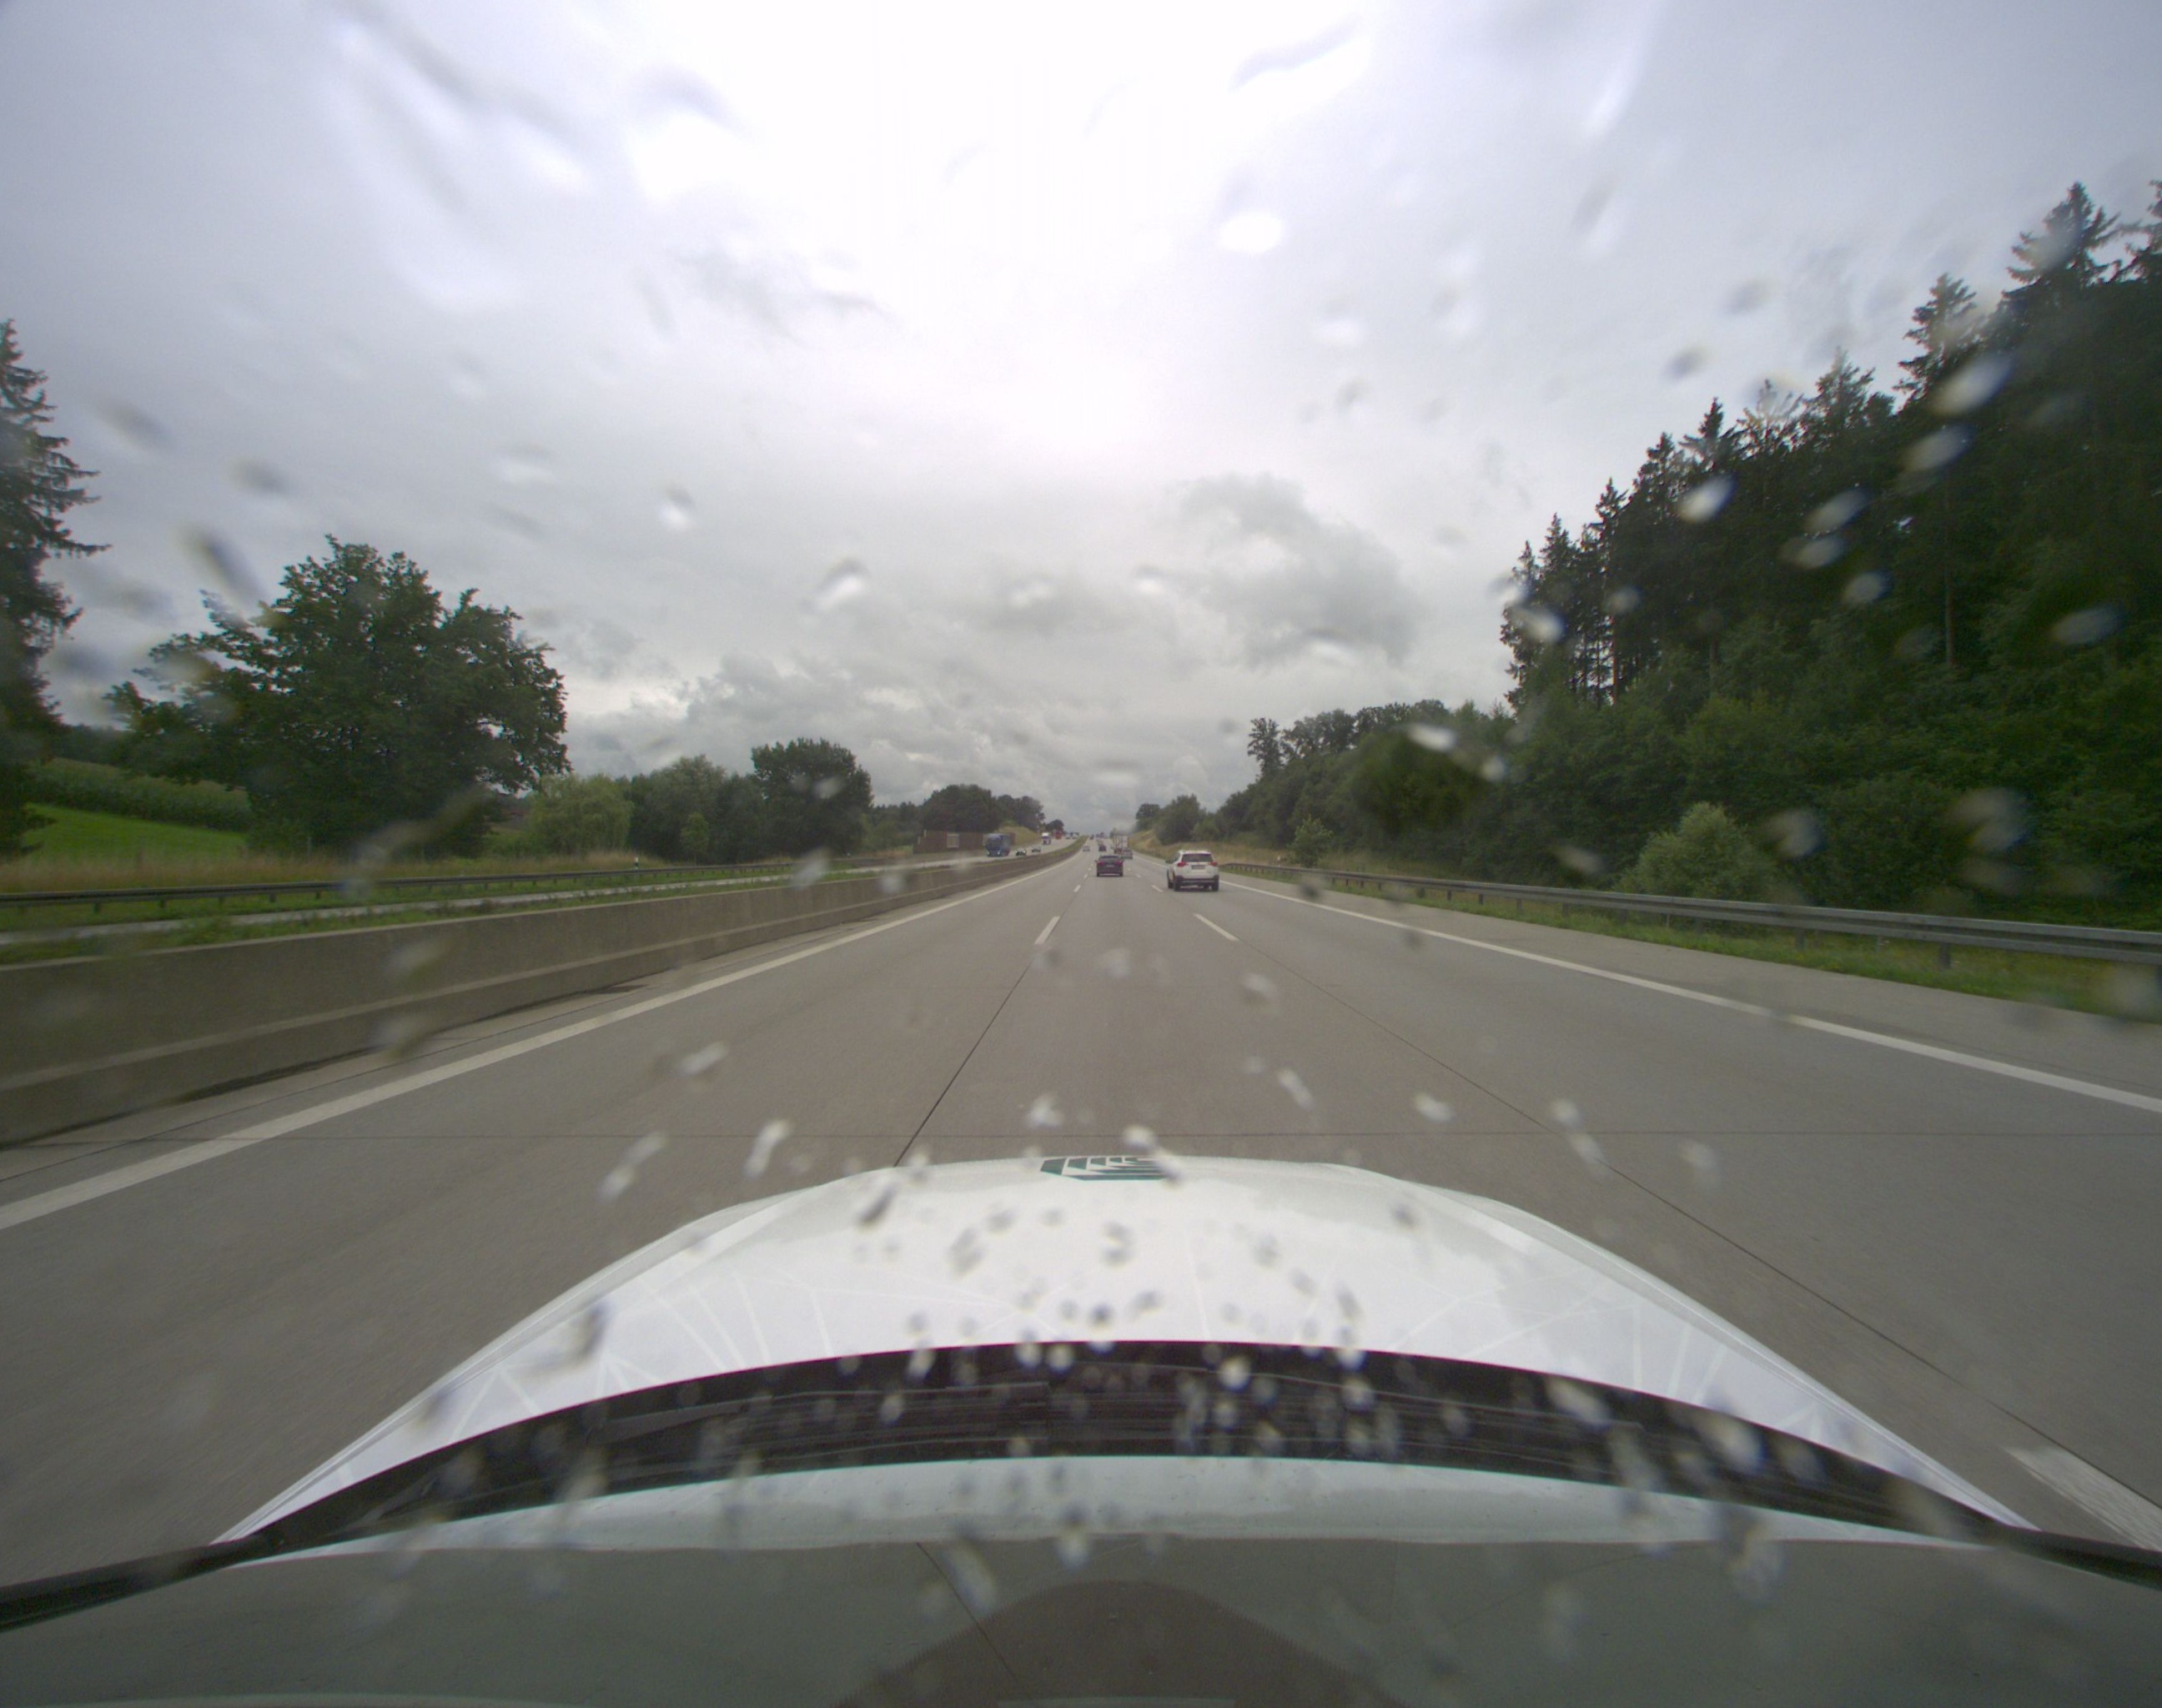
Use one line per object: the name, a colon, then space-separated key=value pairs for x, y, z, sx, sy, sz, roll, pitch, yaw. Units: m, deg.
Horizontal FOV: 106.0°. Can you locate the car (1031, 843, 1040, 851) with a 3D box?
car: x=-10.473 y=-1.553 z=189.216 sx=1.810 sy=1.767 sz=4.732 roll=0 pitch=0 yaw=0

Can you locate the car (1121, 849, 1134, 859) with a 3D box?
car: x=7.120 y=0.032 z=124.816 sx=1.986 sy=1.530 sz=4.002 roll=1 pitch=0 yaw=2

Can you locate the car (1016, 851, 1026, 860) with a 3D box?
car: x=-11.237 y=0.311 z=152.255 sx=1.631 sy=1.500 sz=4.517 roll=0 pitch=-1 yaw=0

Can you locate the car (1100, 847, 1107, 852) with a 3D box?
car: x=5.747 y=-1.184 z=207.452 sx=1.927 sy=1.375 sz=4.597 roll=0 pitch=0 yaw=2

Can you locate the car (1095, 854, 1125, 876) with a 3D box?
car: x=1.878 y=0.752 z=53.613 sx=1.747 sy=1.398 sz=4.482 roll=0 pitch=-1 yaw=-1

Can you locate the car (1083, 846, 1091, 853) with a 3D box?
car: x=1.518 y=-1.171 z=212.419 sx=1.940 sy=1.356 sz=4.261 roll=-1 pitch=-2 yaw=2

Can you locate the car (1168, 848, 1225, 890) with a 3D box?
car: x=4.715 y=0.596 z=33.840 sx=1.820 sy=1.655 sz=3.985 roll=1 pitch=0 yaw=0

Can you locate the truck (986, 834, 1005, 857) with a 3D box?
truck: x=-15.409 y=-1.490 z=146.642 sx=2.682 sy=4.188 sz=6.211 roll=1 pitch=0 yaw=1

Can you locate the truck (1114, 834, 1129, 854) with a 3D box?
truck: x=8.599 y=-2.217 z=174.581 sx=3.007 sy=4.180 sz=8.356 roll=0 pitch=1 yaw=1
